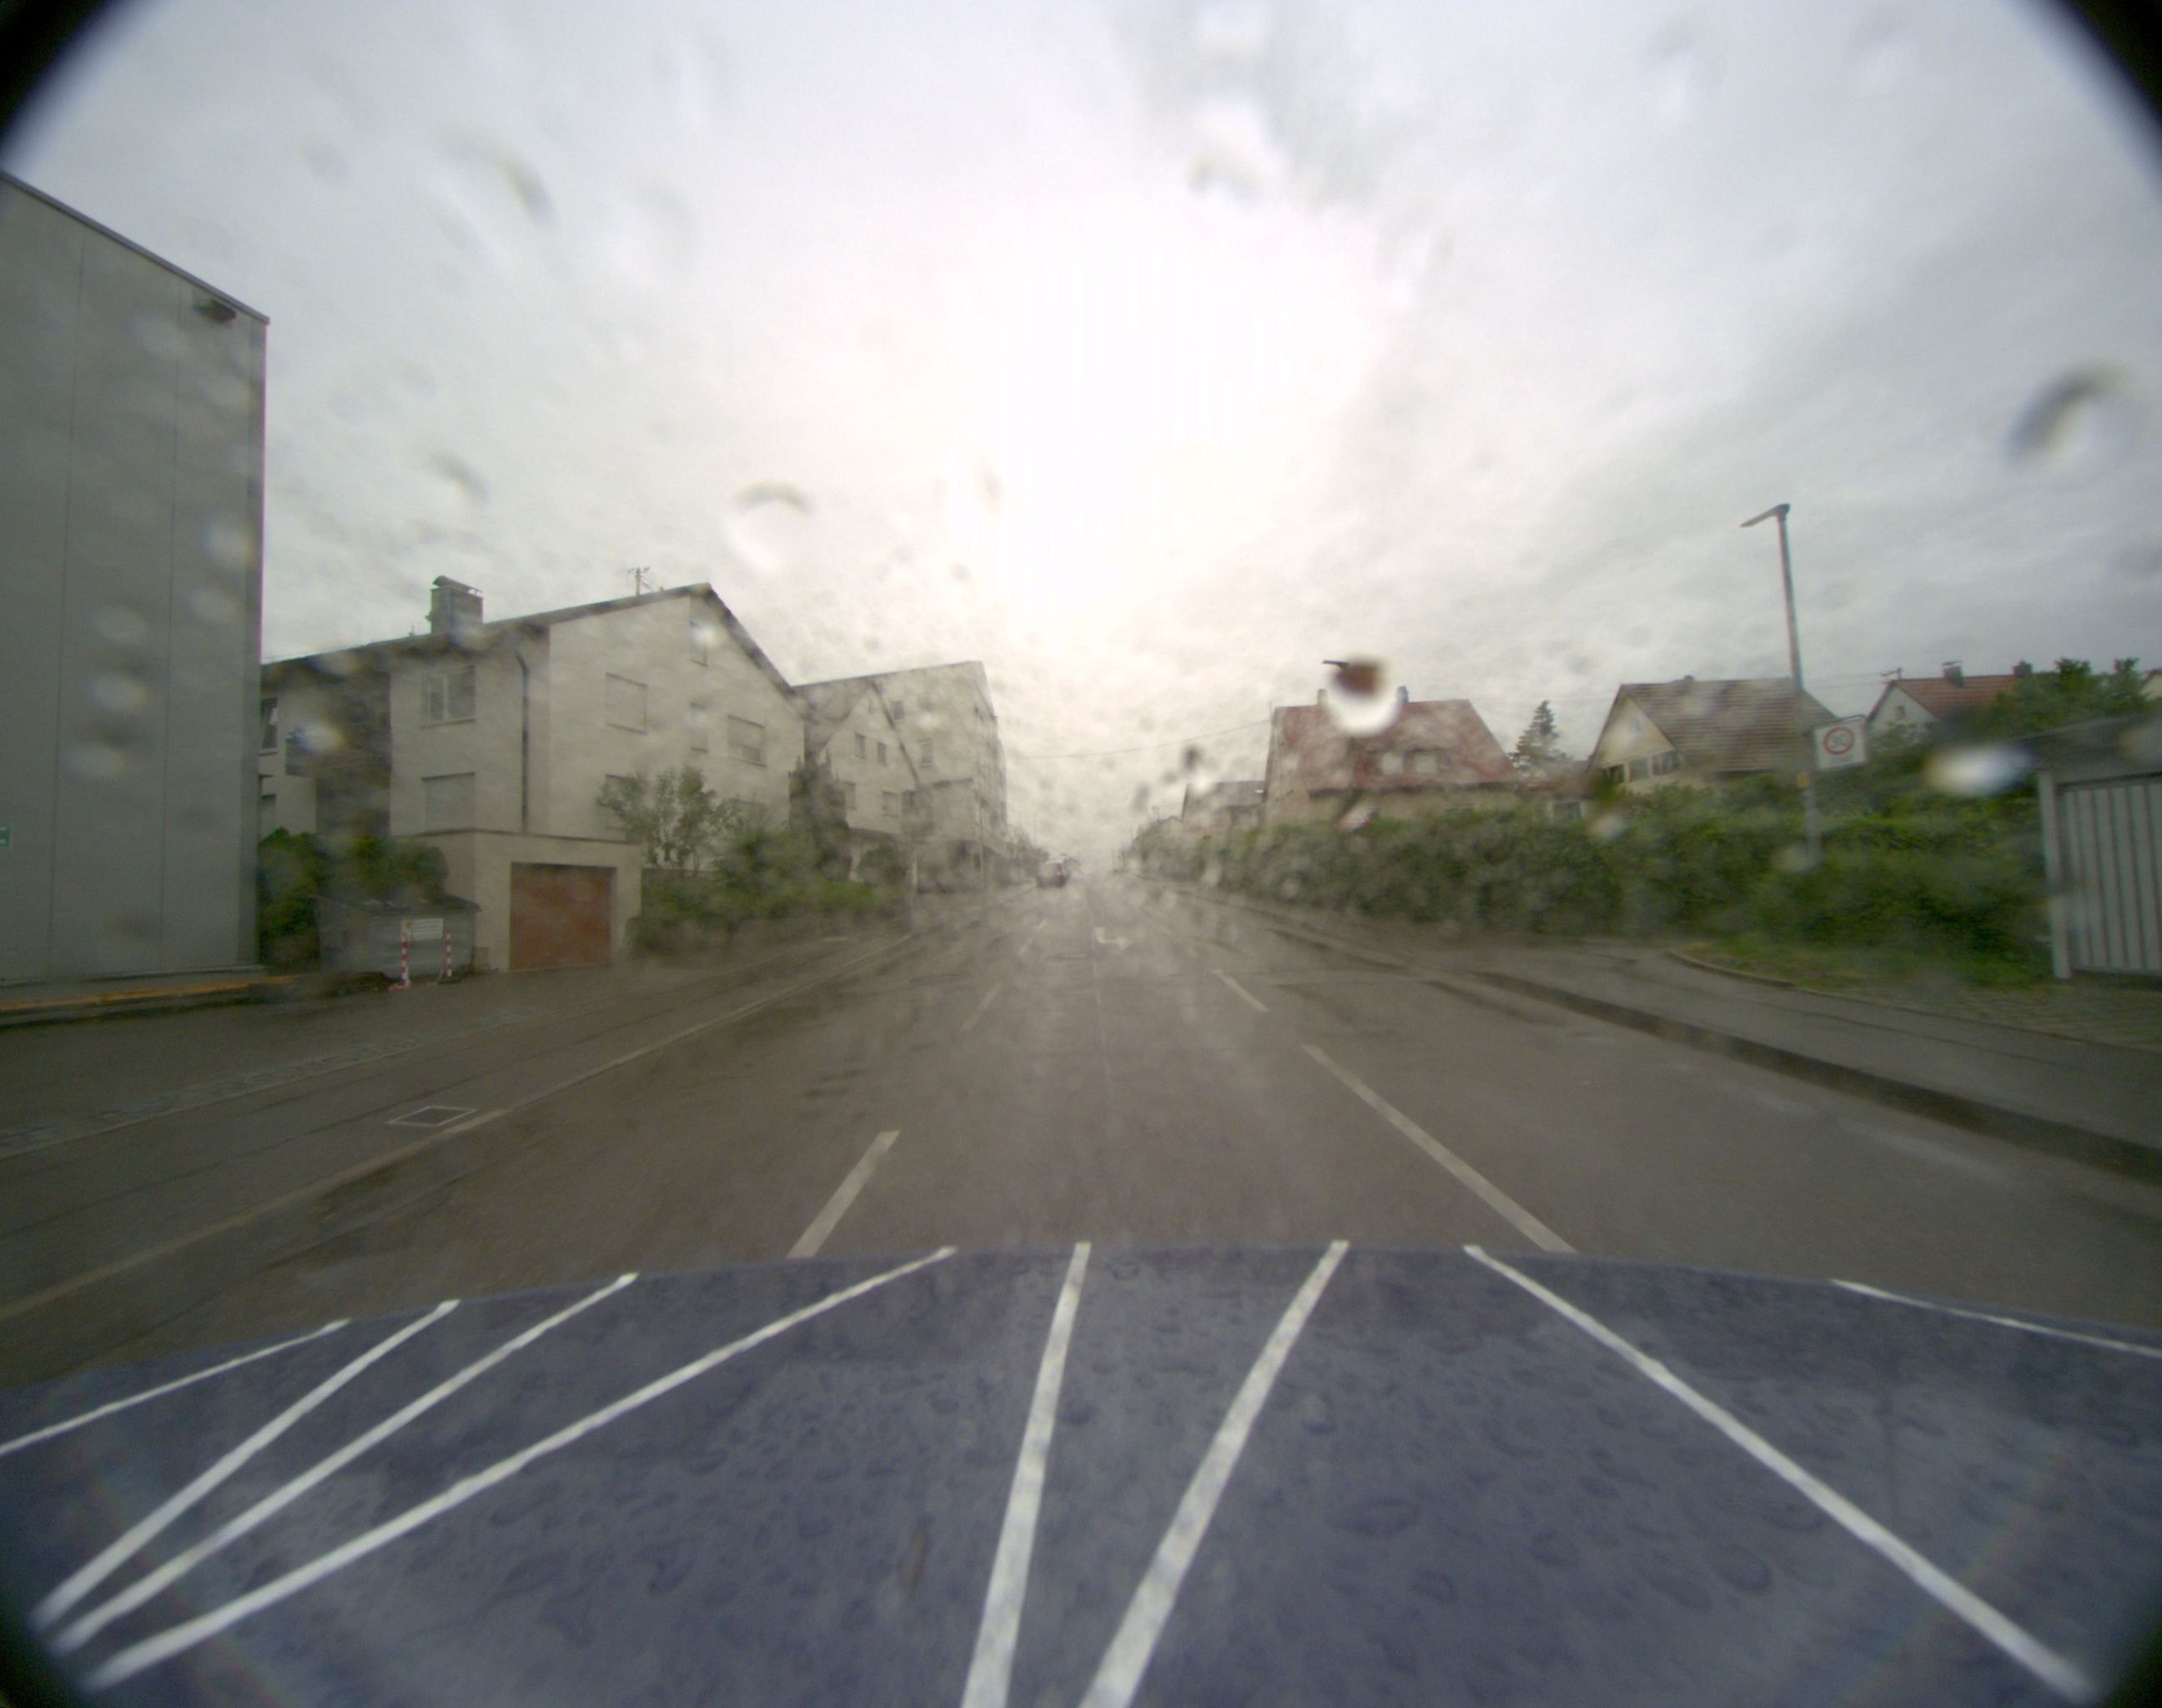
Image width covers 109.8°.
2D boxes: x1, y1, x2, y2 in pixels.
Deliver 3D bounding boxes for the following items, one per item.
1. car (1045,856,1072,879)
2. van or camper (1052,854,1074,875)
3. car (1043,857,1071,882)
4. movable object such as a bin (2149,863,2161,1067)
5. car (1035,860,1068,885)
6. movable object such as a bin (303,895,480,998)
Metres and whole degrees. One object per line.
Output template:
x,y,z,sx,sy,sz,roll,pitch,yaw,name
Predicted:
-1.921,1.138,66.283,1.998,1.923,4.976,-2,0,1,car
-1.851,1.129,79.605,1.998,2.101,5.203,-1,-1,1,van or camper
-1.879,1.217,60.503,1.883,1.823,4.489,-2,0,1,car
7.102,0.687,3.985,1.074,1.339,1.319,-4,0,-1,movable object such as a bin
-2.109,1.280,55.277,1.998,1.634,4.959,-2,0,1,car
-11.514,1.488,12.770,1.263,1.509,1.781,-1,-1,16,movable object such as a bin
